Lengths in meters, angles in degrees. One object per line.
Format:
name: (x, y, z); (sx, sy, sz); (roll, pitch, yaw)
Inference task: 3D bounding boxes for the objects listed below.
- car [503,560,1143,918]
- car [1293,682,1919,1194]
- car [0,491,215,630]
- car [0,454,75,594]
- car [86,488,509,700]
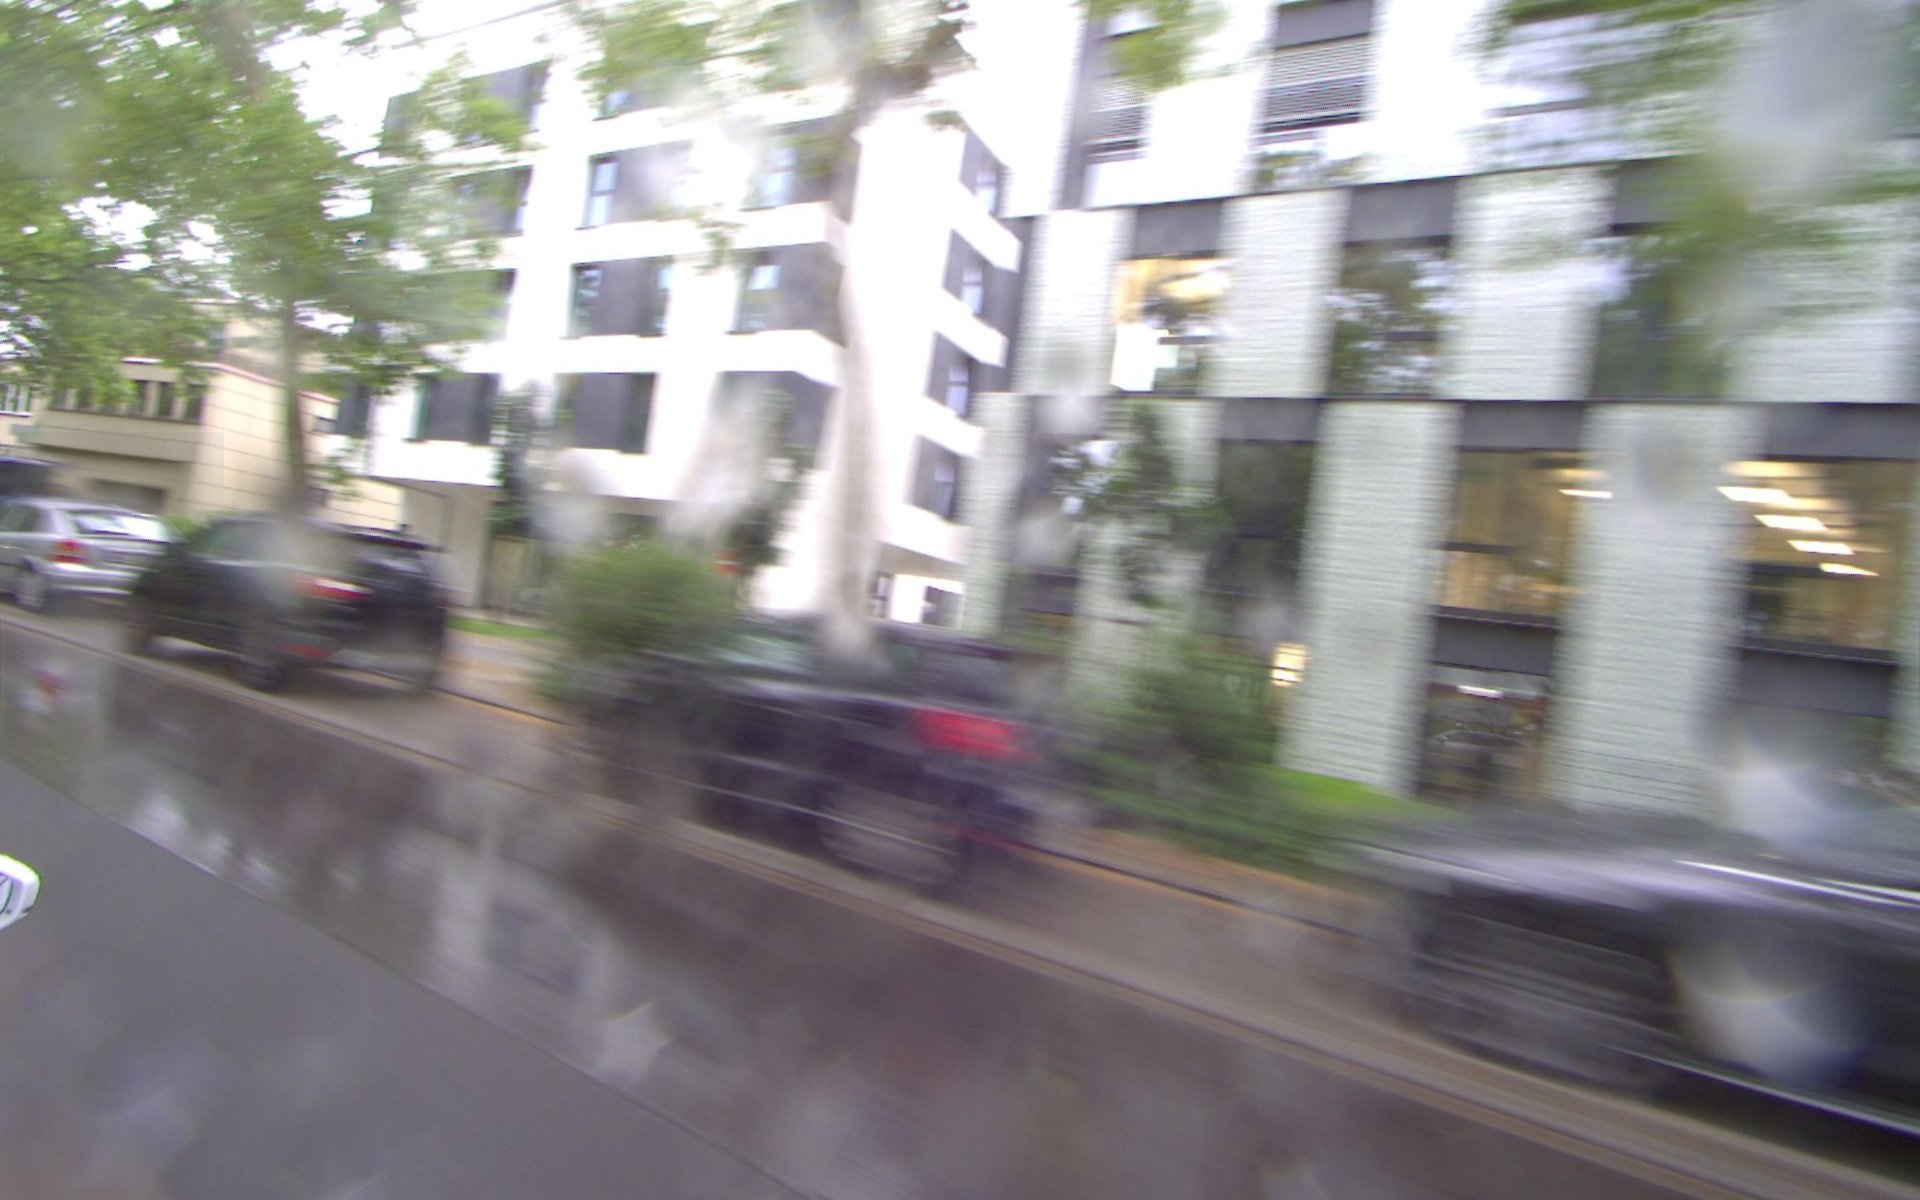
car: (-1.040, 0.750, 6.870); (4.016, 1.493, 1.747); (7, -2, 33)
car: (4.143, 1.434, 3.947); (5.018, 1.444, 1.747); (7, -2, 31)
car: (-12.550, -0.638, 14.052); (4.232, 1.486, 1.748); (7, -2, 29)
car: (-17.136, -1.501, 16.482); (5.433, 2.051, 2.127); (7, -2, 29)
car: (-6.924, -0.096, 10.423); (4.297, 1.584, 1.748); (7, -2, 29)
